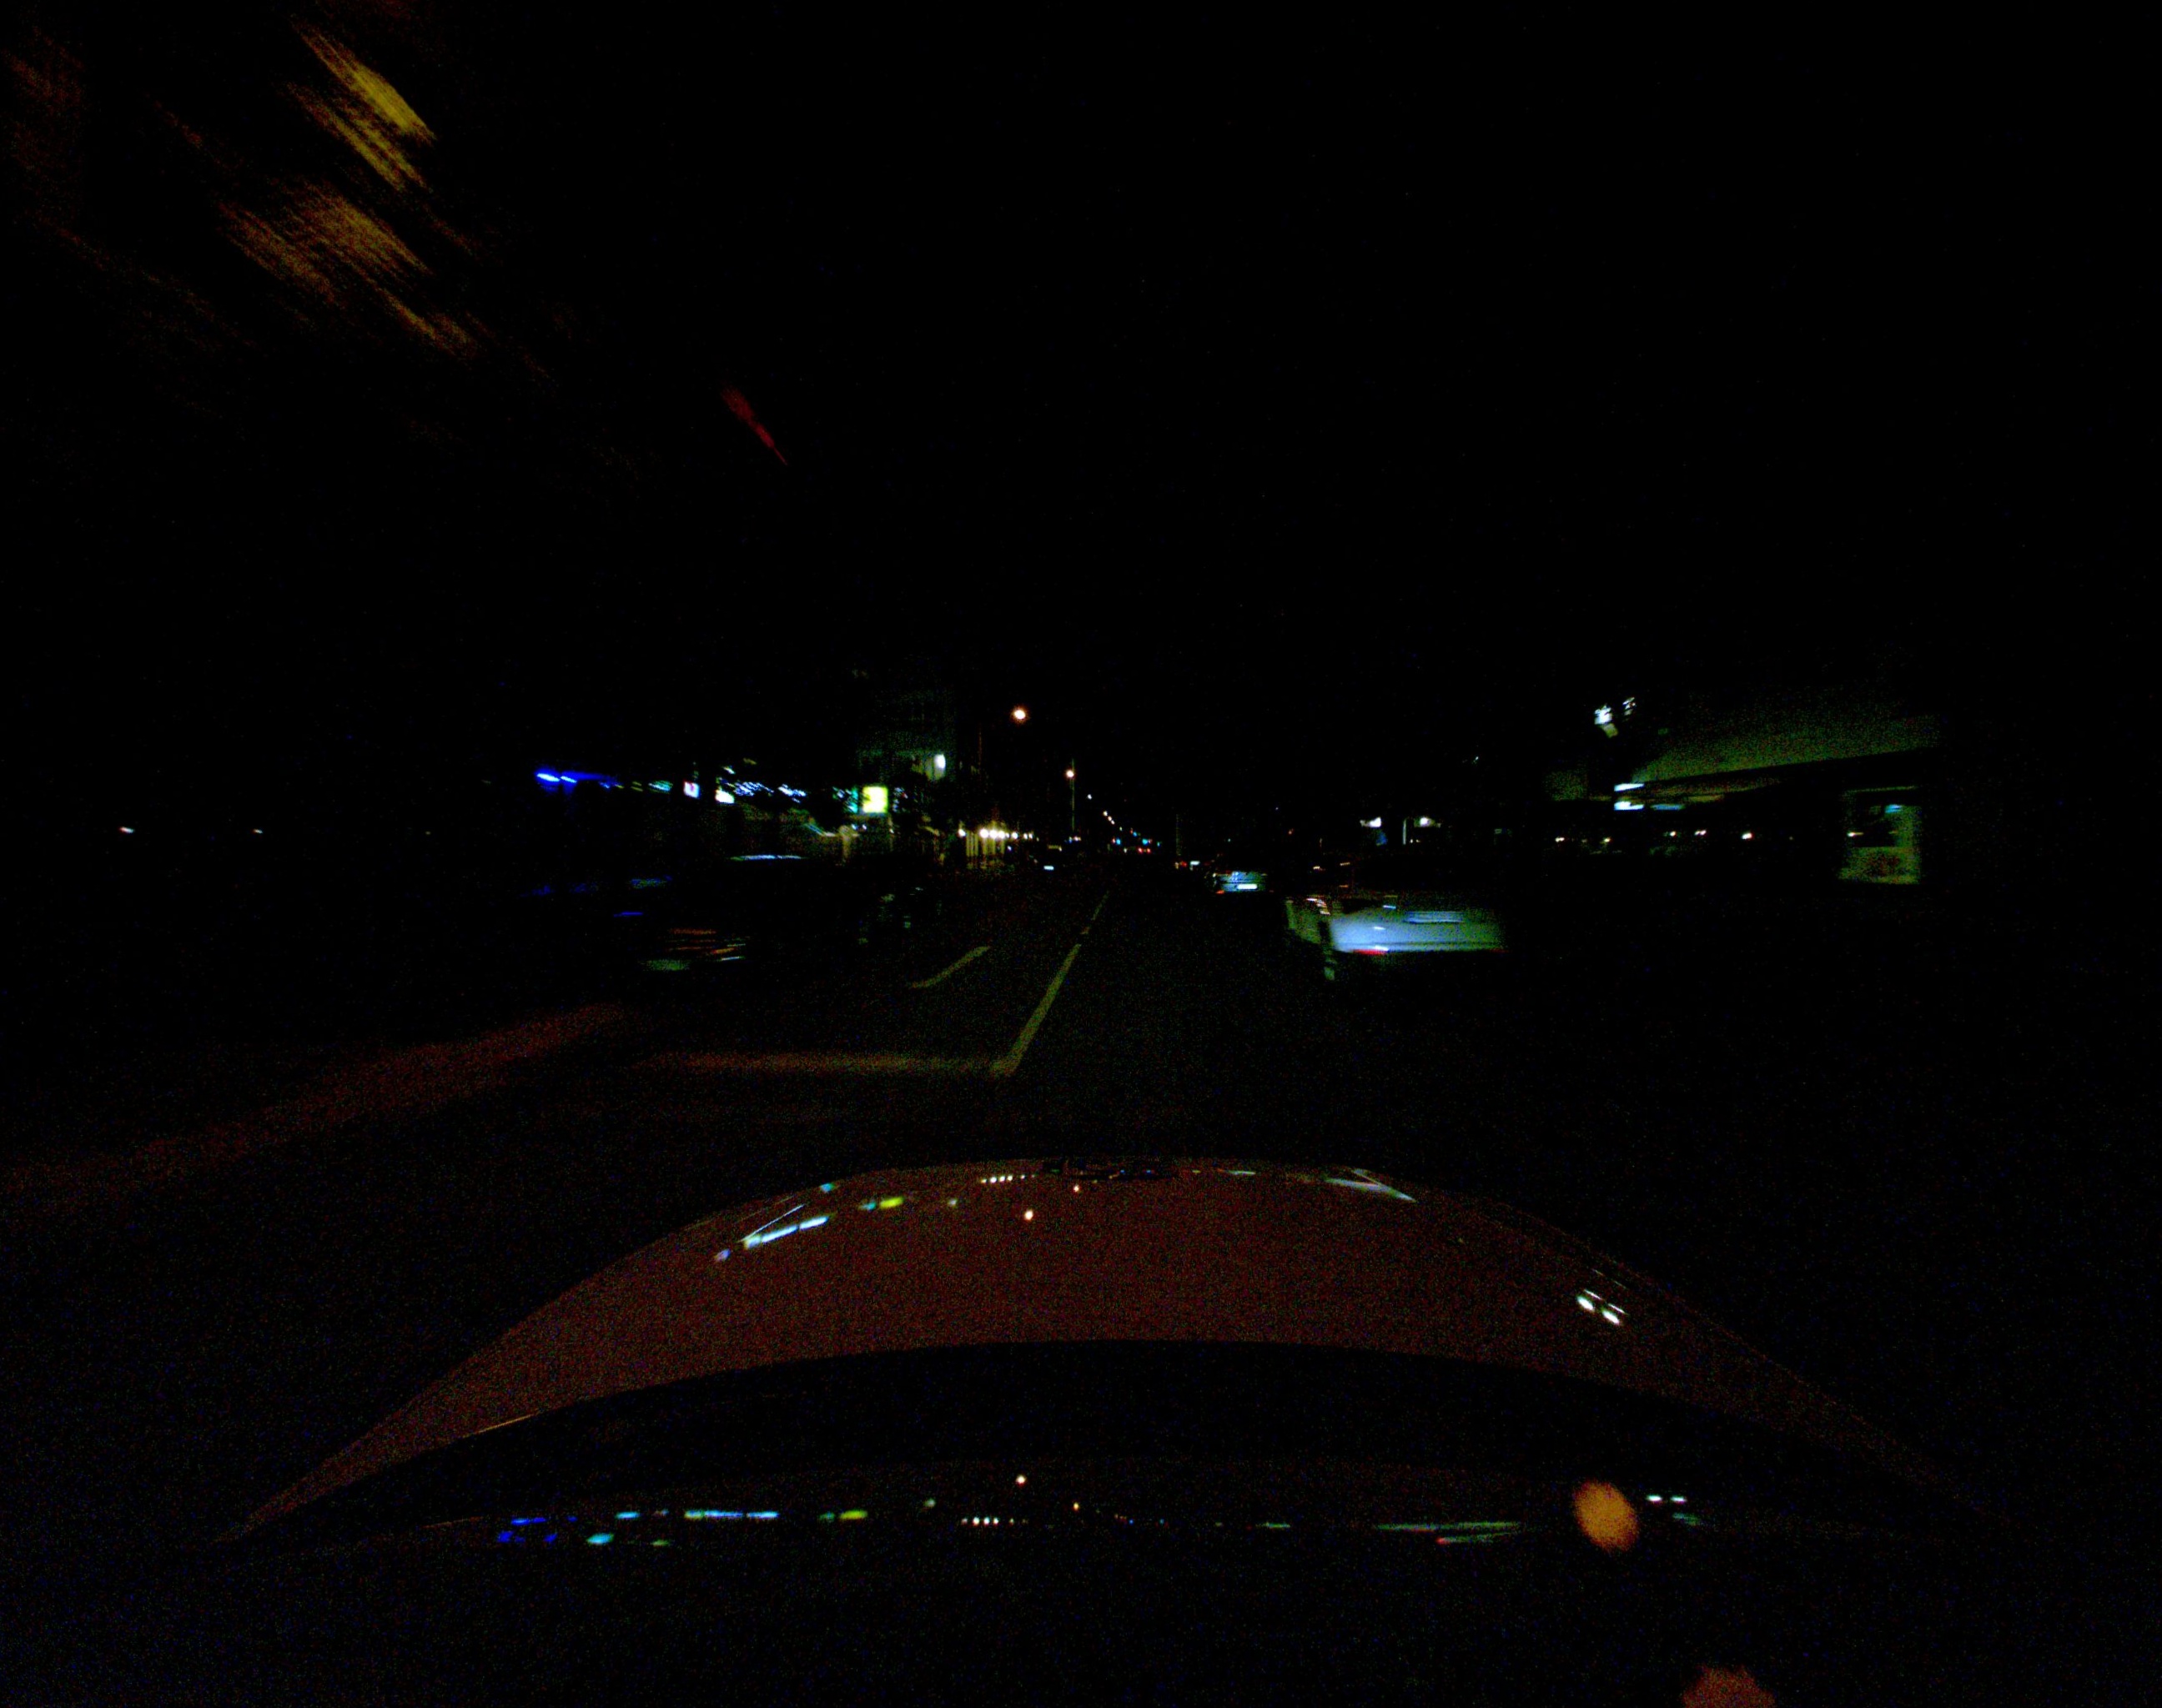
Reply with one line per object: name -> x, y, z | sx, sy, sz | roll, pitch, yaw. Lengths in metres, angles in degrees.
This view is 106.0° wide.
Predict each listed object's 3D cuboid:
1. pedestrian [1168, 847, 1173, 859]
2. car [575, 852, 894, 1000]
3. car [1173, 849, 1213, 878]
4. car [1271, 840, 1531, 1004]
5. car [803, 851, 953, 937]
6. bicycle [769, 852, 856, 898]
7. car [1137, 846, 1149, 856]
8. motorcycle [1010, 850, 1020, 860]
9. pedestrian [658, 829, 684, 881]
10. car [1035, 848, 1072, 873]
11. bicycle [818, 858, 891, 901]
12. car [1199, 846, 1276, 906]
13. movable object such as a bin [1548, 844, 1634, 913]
pedestrian -> 14.253, -0.141, 129.180 | 0.699, 1.818, 1.083 | -1, 0, 4
car -> -4.127, 0.728, 10.809 | 1.799, 1.425, 4.926 | 2, 1, 4
car -> 5.738, 0.448, 42.268 | 1.756, 1.414, 4.813 | -1, 0, 4
car -> 3.571, 0.646, 9.964 | 1.762, 1.536, 4.221 | -2, 0, 4
car -> -3.882, 0.694, 16.306 | 1.714, 1.428, 3.981 | 2, 1, 4
bicycle -> -6.318, 0.491, 19.219 | 1.843, 1.000, 0.533 | 2, 0, 3
car -> 11.038, -0.520, 145.308 | 1.985, 1.643, 4.004 | -1, 0, 3
motorcycle -> -6.899, 0.104, 85.345 | 0.475, 1.020, 1.682 | 0, 1, 14
pedestrian -> -13.129, 0.026, 26.086 | 0.476, 1.636, 0.633 | 0, 0, 4
car -> -1.589, 0.366, 48.644 | 1.733, 1.413, 4.501 | 1, 1, 4
bicycle -> -6.205, 0.701, 22.375 | 1.843, 1.166, 0.533 | 0, 0, 3
car -> 4.445, 0.566, 23.612 | 1.682, 1.536, 4.020 | -2, 0, 4
movable object such as a bin -> 10.446, 0.489, 16.722 | 1.156, 1.371, 0.994 | 1, 0, 2
